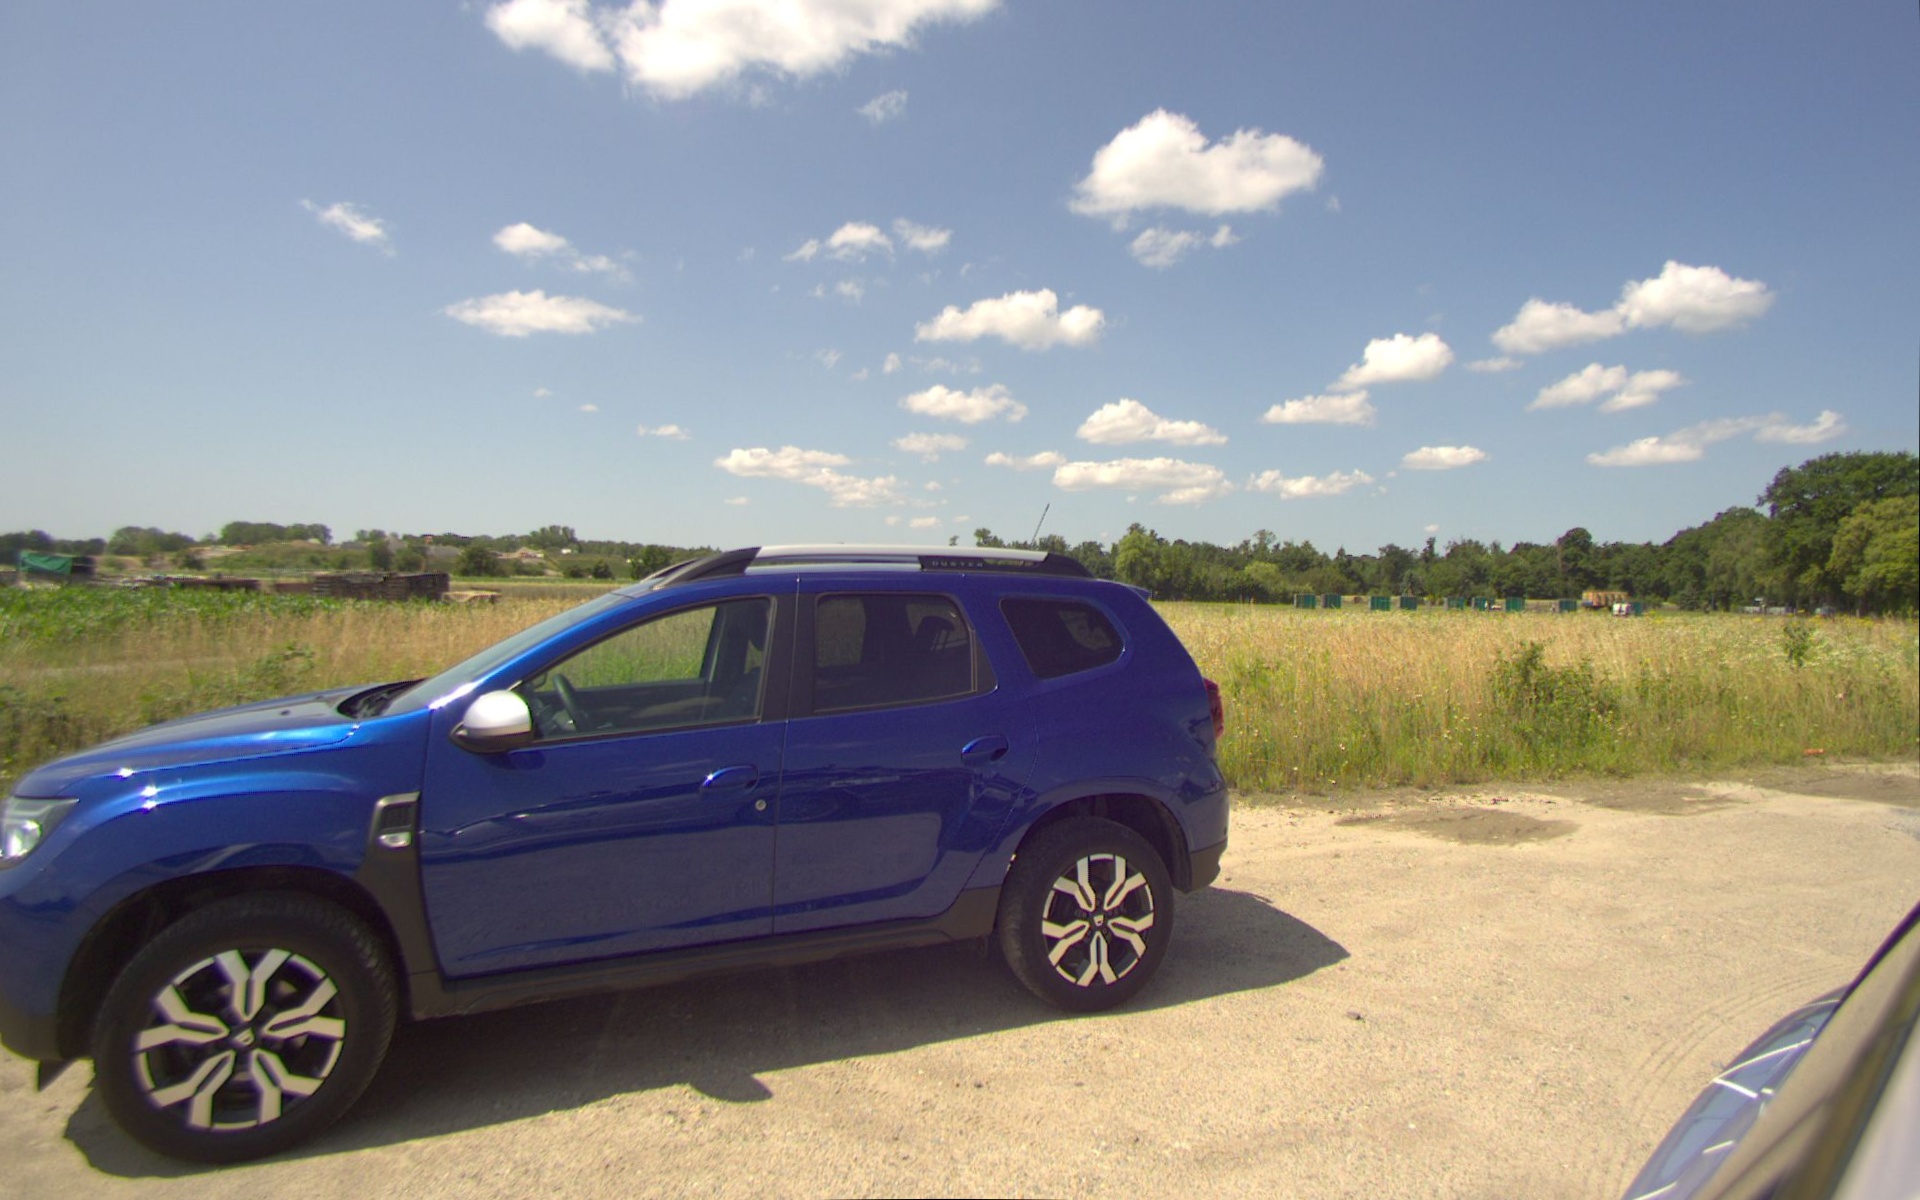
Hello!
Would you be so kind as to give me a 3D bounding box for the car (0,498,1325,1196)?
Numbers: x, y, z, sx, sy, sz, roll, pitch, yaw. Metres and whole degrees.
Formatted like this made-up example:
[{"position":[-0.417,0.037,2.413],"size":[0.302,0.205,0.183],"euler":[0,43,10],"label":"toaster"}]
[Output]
[{"position":[-0.958,0.583,3.984],"size":[4.365,1.682,1.868],"euler":[0,0,-22],"label":"car"}]
